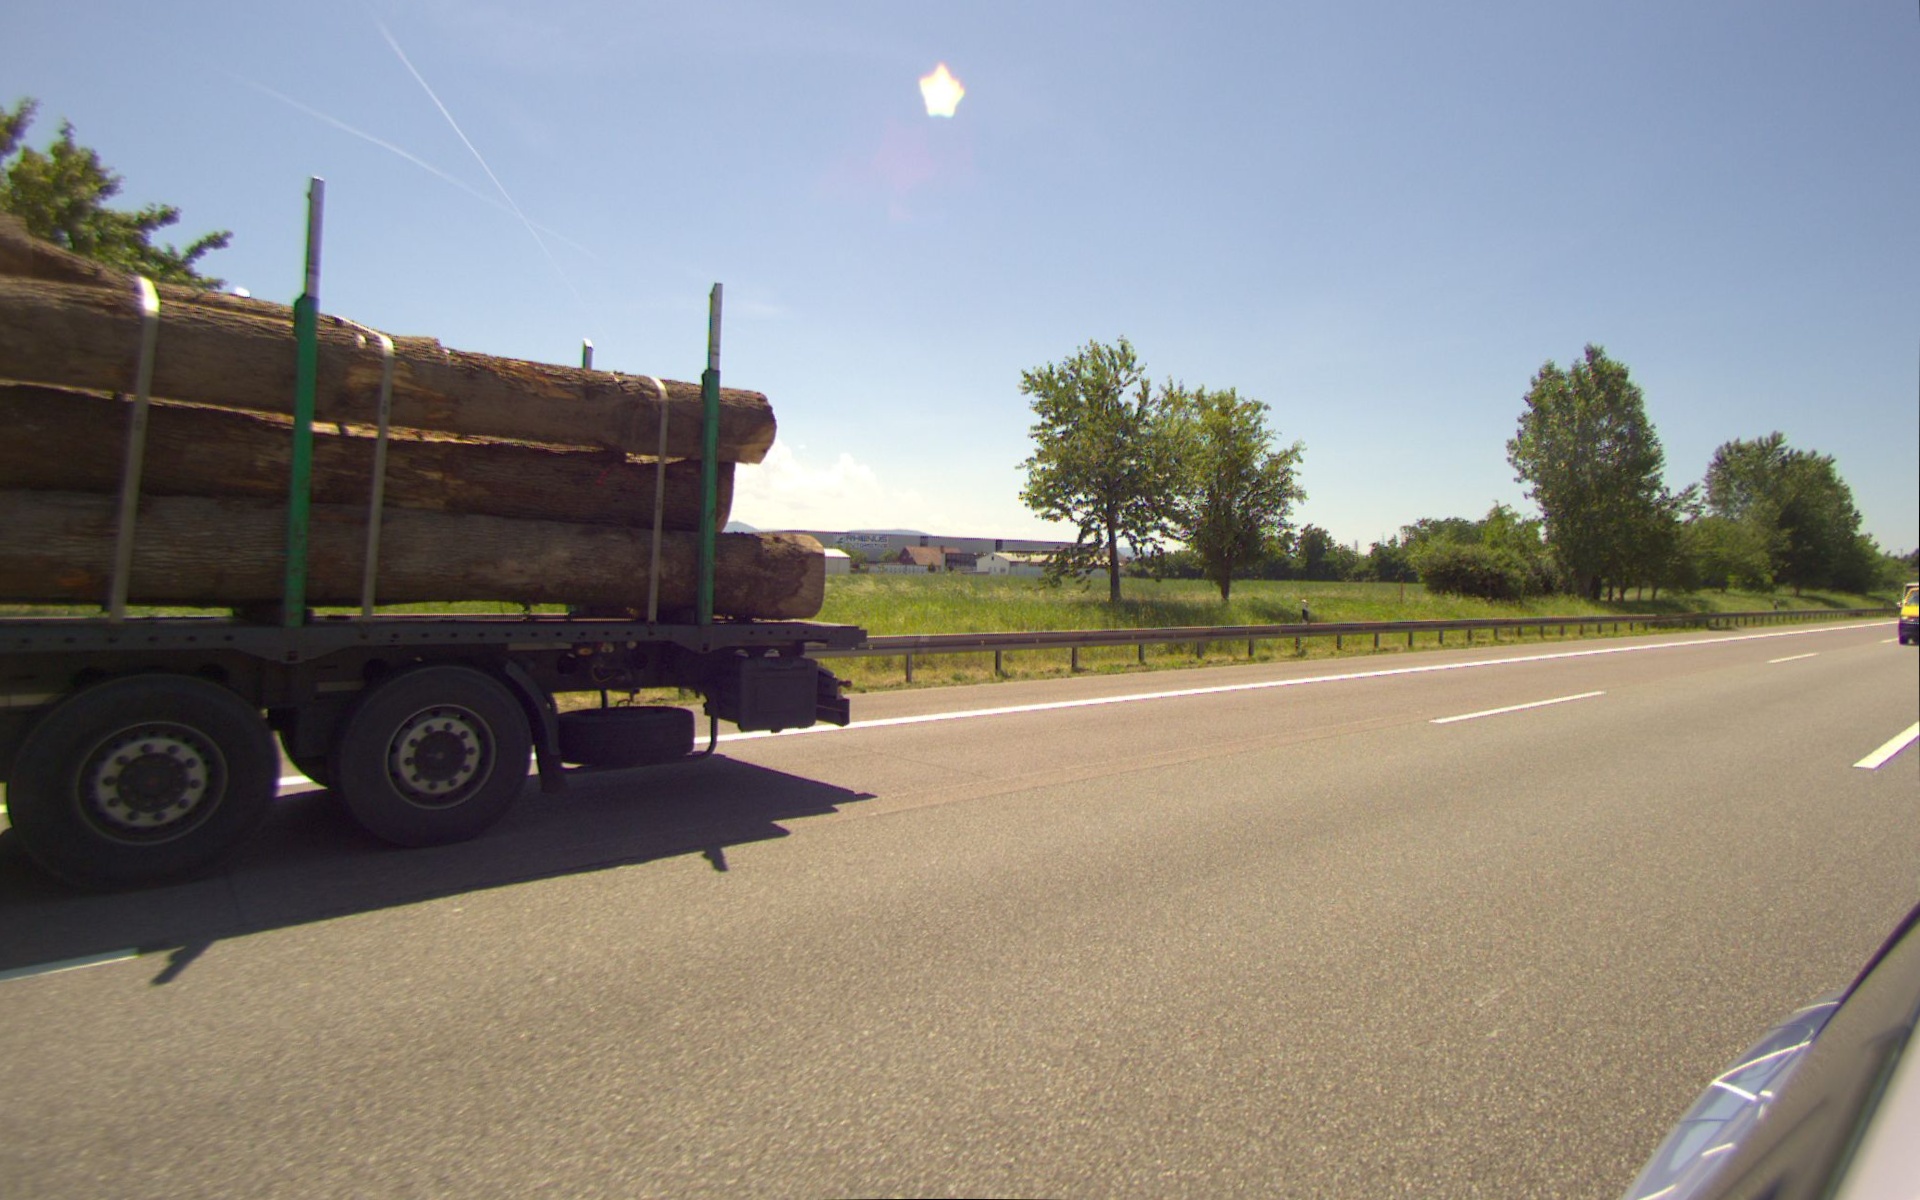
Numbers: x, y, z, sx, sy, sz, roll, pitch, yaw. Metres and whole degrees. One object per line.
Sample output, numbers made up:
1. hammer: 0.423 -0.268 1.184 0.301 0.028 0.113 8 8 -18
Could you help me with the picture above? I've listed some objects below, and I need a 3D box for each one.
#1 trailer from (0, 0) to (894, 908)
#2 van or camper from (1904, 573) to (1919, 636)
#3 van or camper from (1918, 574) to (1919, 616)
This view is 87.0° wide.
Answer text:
1. trailer: -6.420 -0.679 4.171 13.397 4.008 2.658 0 0 -41
2. van or camper: 33.489 0.141 33.922 5.780 2.029 2.062 0 1 -41
3. van or camper: 64.790 -0.345 66.577 6.258 2.737 2.117 0 0 -42
